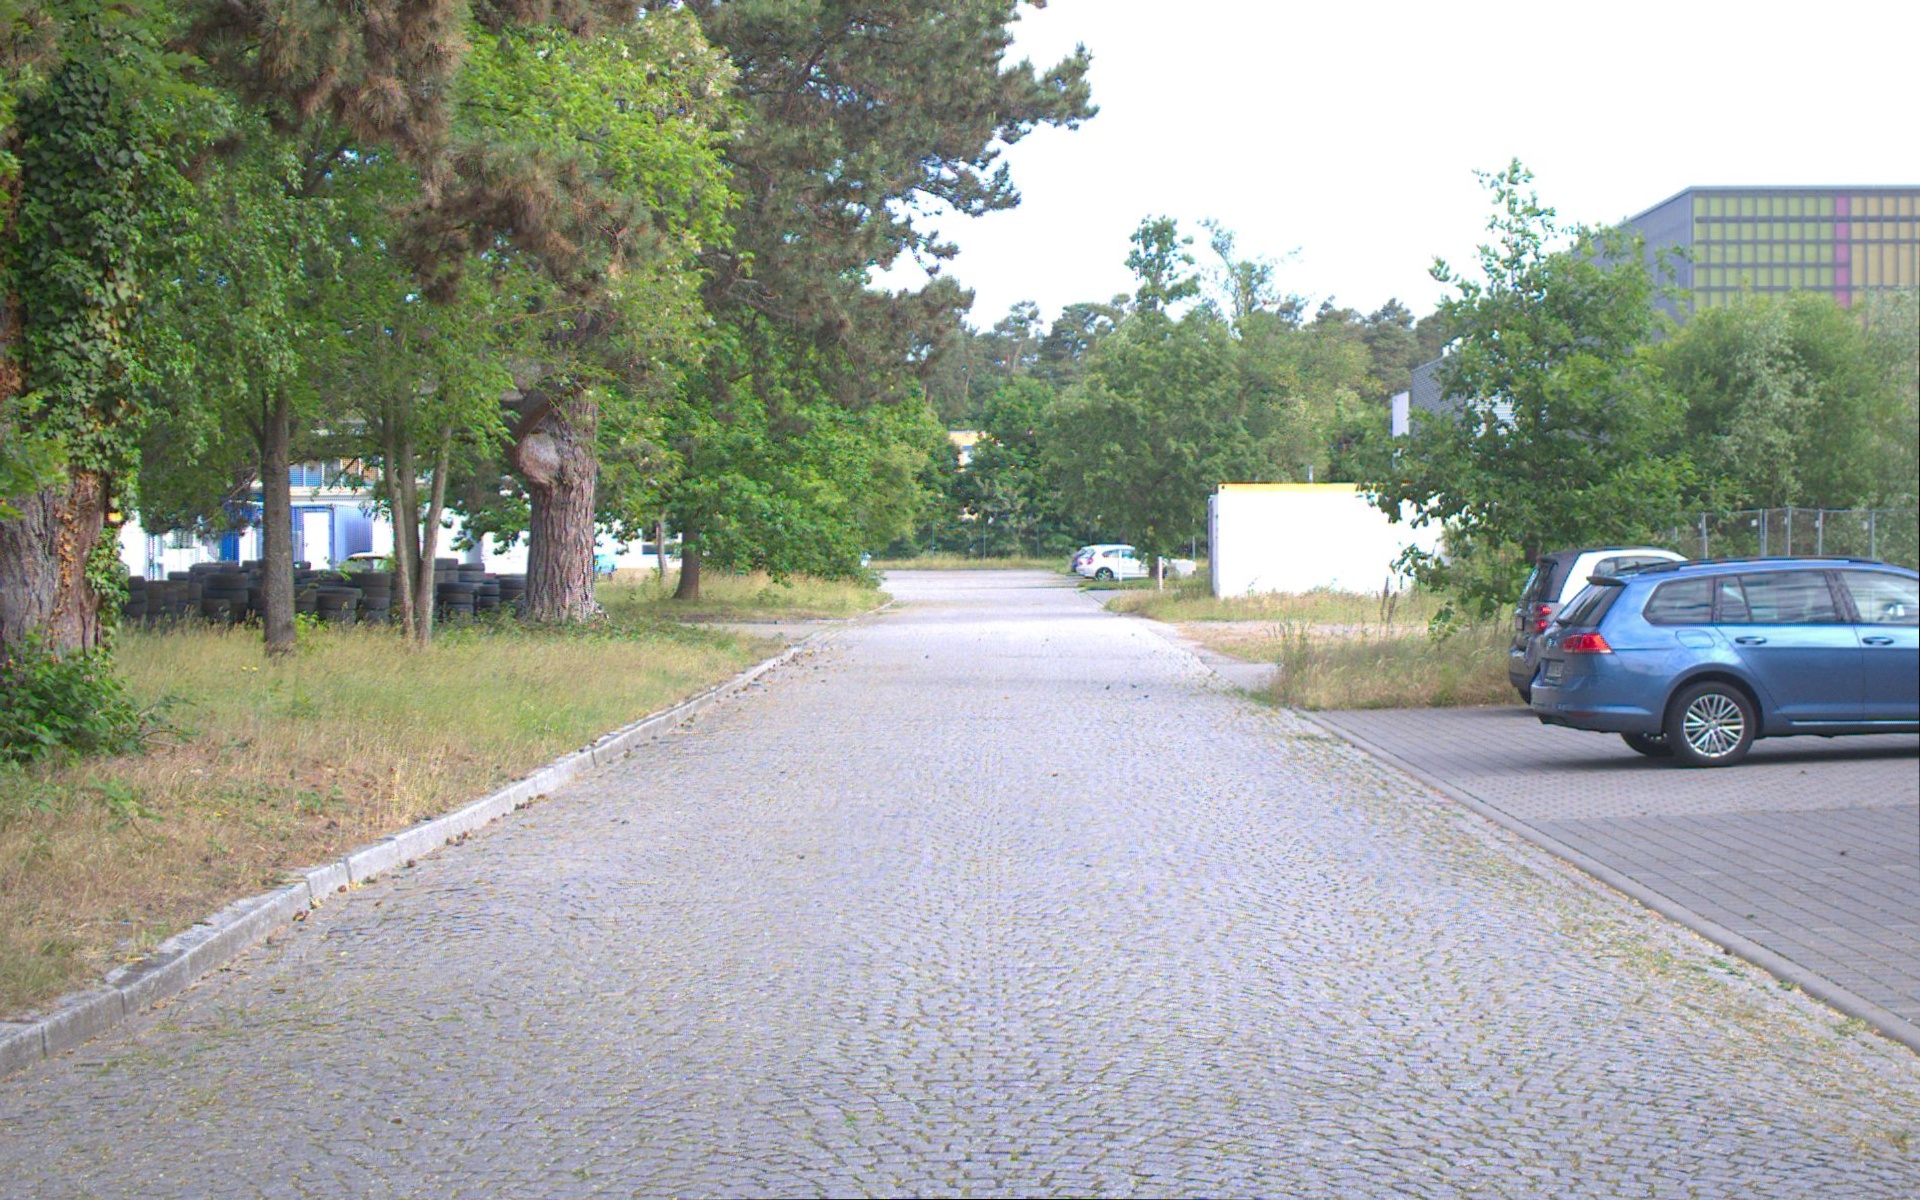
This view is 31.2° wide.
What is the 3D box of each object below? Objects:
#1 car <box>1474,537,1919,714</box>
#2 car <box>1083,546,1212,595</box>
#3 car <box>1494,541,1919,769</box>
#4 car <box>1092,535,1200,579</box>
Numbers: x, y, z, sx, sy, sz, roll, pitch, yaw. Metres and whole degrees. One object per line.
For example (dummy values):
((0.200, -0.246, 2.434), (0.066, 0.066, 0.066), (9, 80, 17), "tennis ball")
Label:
((7.319, 0.221, 32.842), (4.518, 1.526, 2.000), (-2, 1, 1), "car")
((6.468, -1.021, 119.072), (4.354, 1.682, 1.925), (0, 1, 0), "car")
((6.414, 0.355, 25.472), (4.517, 1.526, 2.000), (-2, 1, -2), "car")
((7.578, -1.738, 140.043), (4.355, 1.774, 1.925), (0, 1, 2), "car")
